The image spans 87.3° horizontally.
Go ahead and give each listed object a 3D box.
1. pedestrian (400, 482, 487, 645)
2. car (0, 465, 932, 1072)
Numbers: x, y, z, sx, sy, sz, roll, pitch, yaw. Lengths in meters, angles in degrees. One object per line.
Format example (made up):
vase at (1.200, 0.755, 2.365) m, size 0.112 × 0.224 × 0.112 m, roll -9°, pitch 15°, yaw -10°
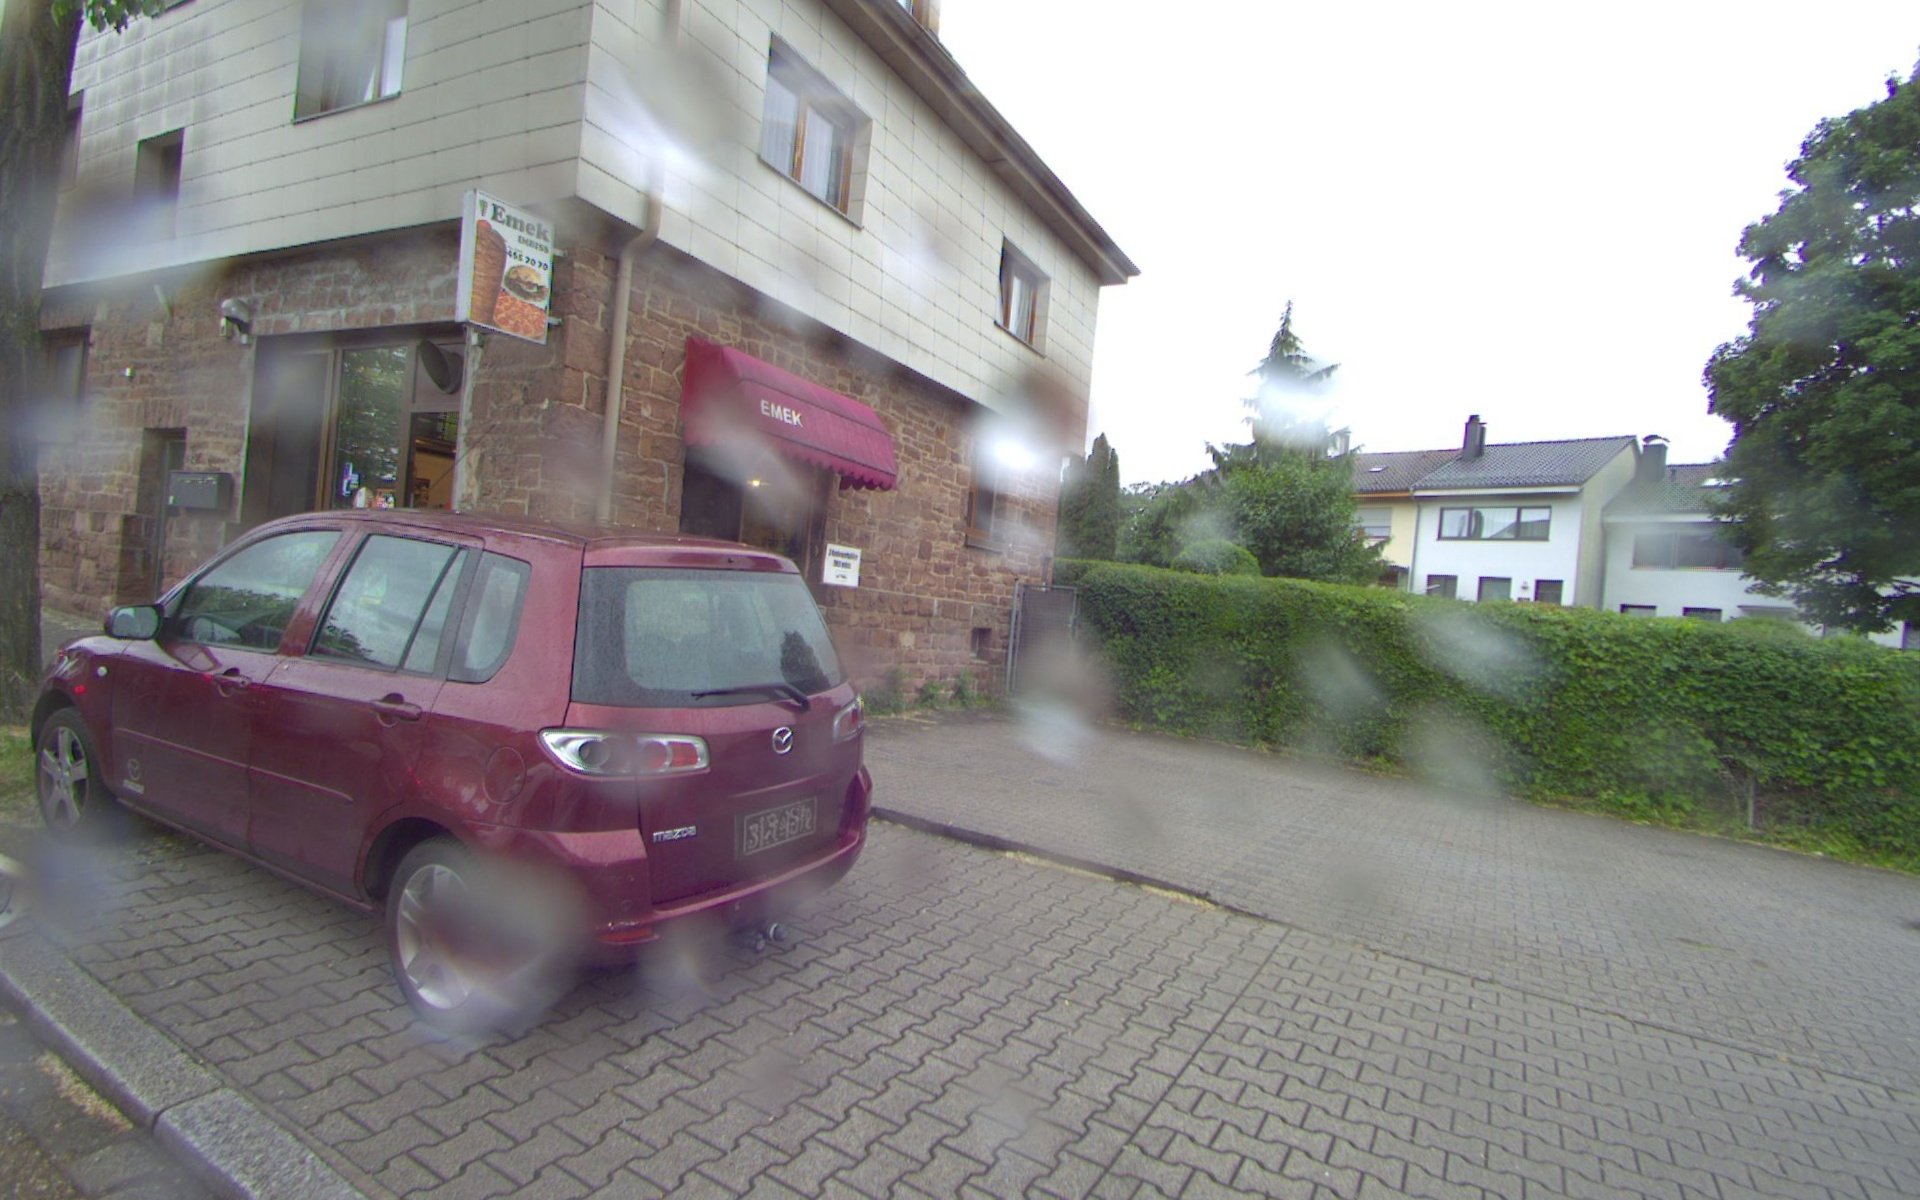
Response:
pedestrian at (-5.569, -0.388, 10.865) m, size 0.447 × 1.679 × 0.493 m, roll 7°, pitch -1°, yaw 31°
car at (-2.174, 0.376, 4.140) m, size 3.692 × 1.521 × 1.614 m, roll 5°, pitch -3°, yaw 29°
